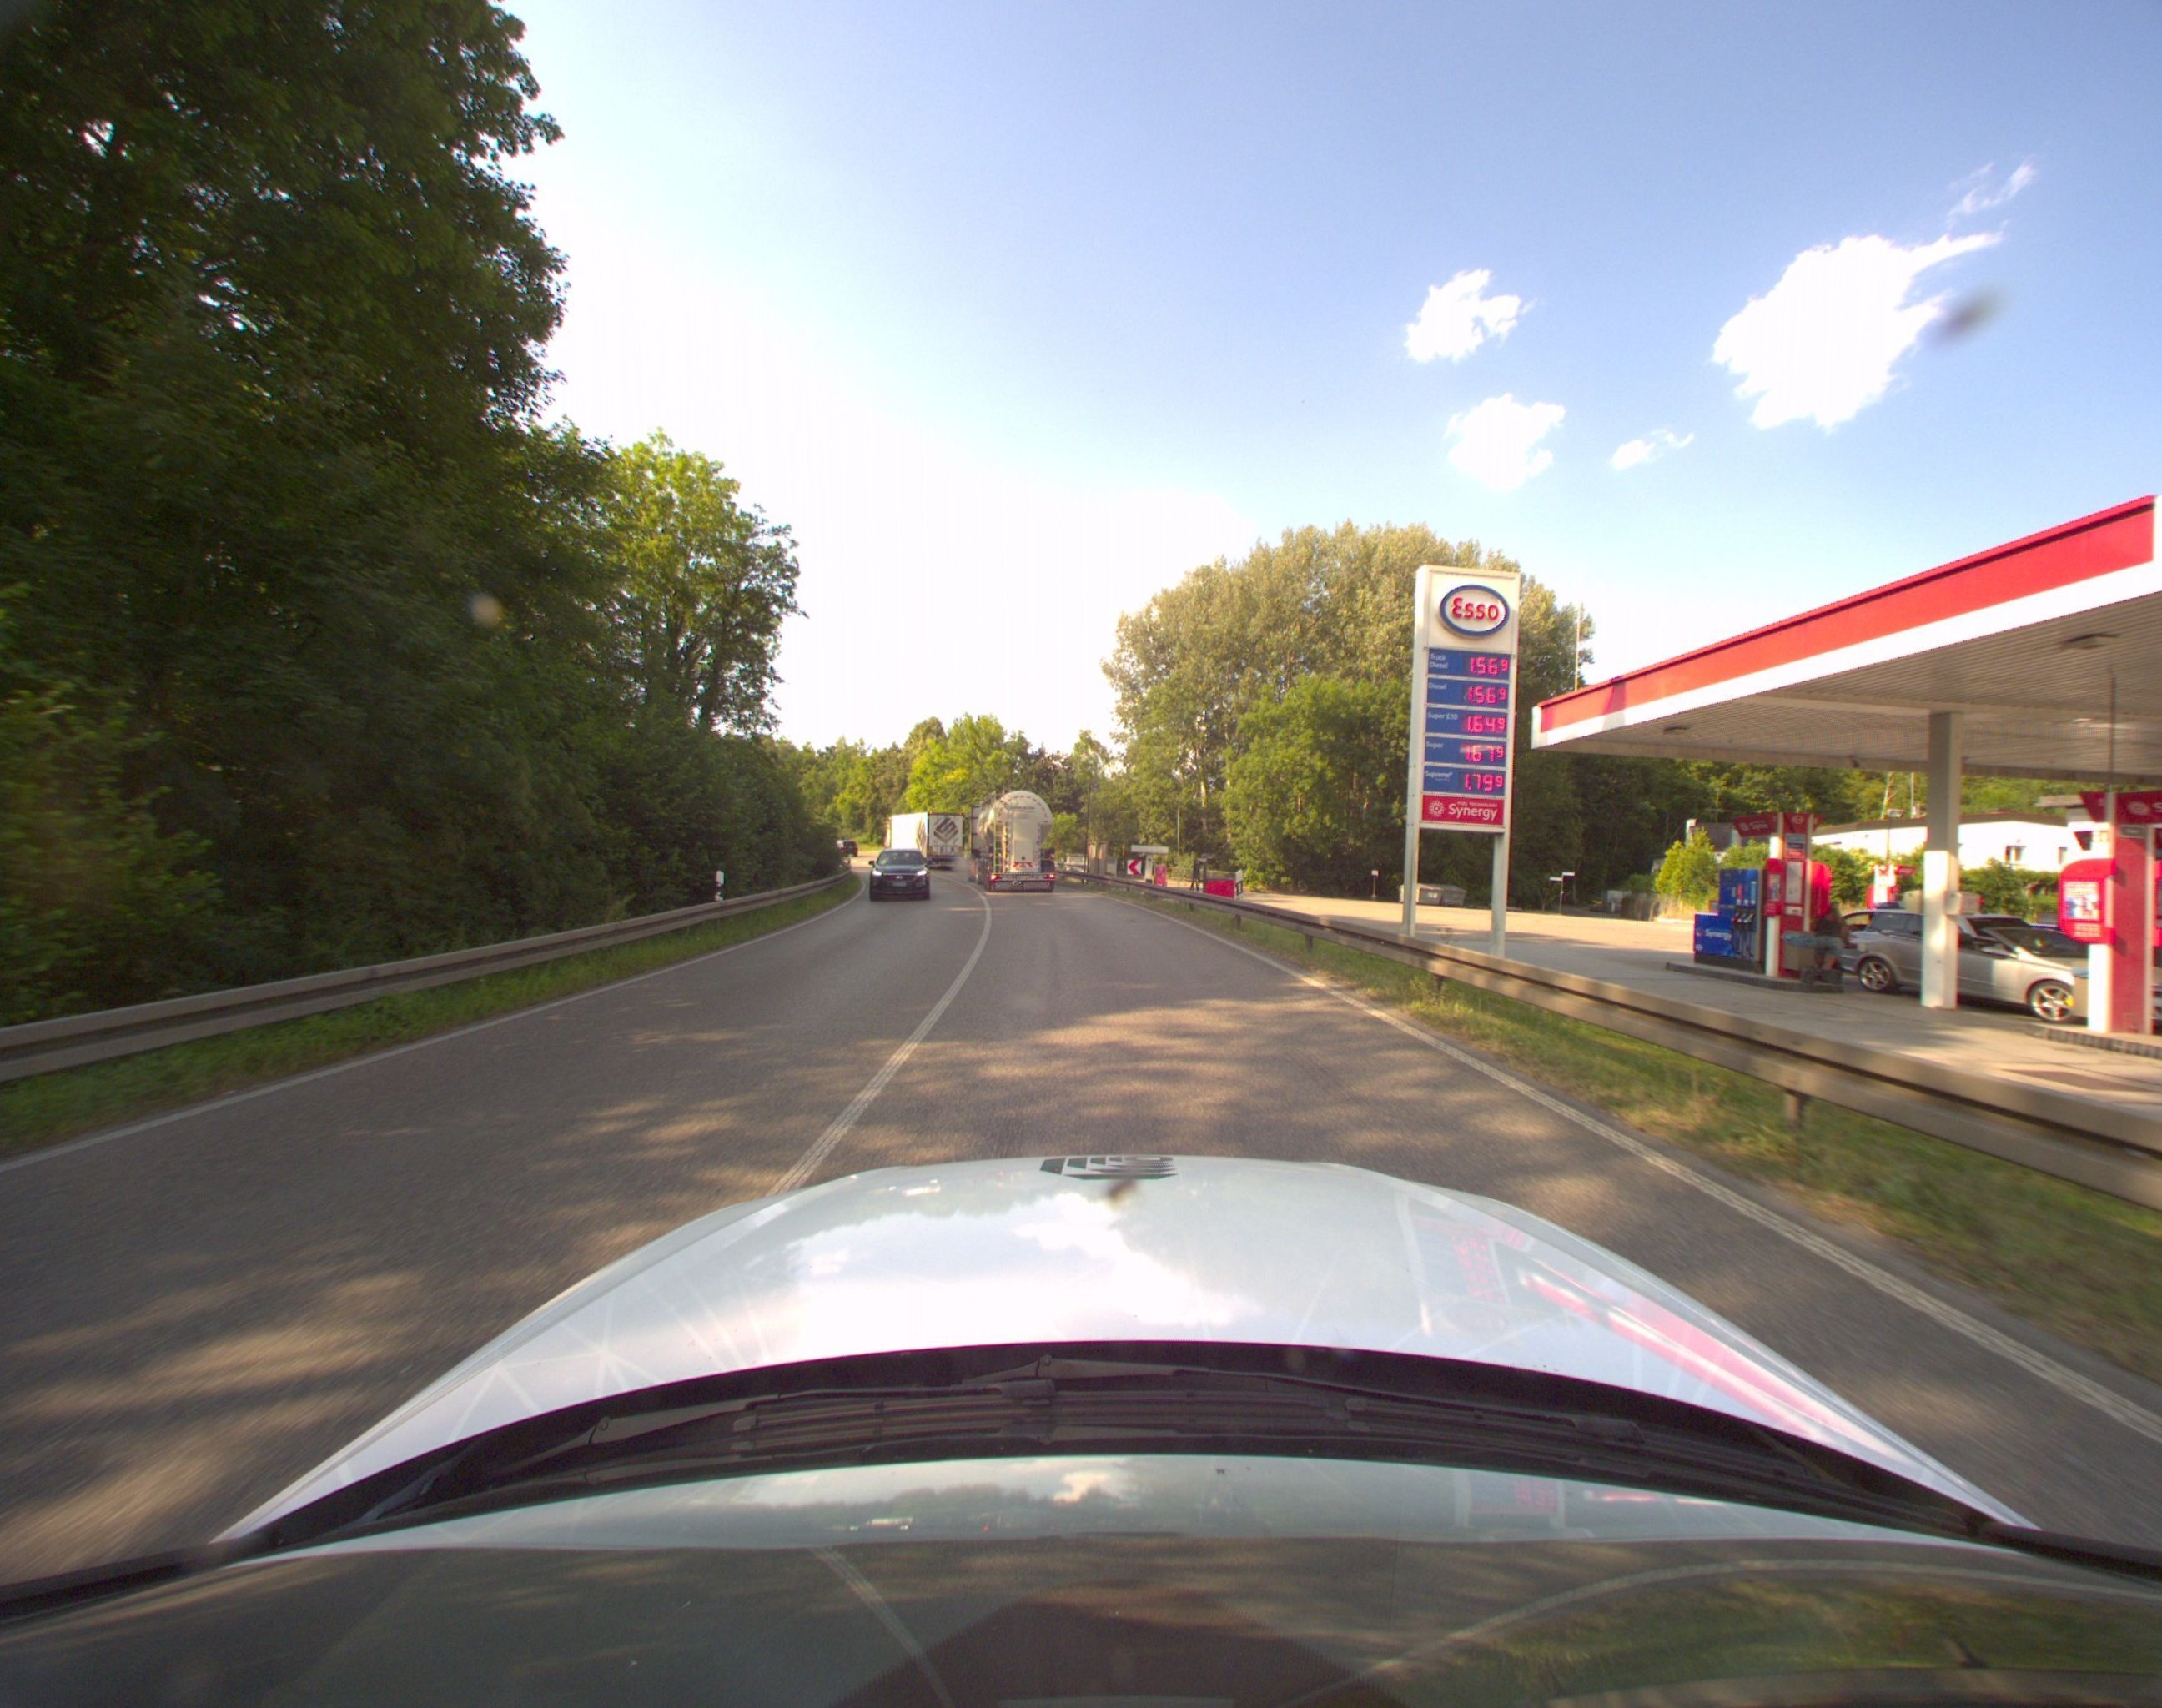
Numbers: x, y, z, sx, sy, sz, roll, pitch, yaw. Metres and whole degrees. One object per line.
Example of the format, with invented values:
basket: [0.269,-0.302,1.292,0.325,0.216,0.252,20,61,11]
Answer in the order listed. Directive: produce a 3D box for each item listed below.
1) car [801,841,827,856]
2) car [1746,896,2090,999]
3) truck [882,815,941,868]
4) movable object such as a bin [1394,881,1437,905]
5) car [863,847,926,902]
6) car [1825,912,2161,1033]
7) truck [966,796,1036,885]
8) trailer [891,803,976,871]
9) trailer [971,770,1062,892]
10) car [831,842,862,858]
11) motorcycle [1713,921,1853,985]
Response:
car: [-30.607,-0.661,93.322,1.881,1.564,3.958,-1,1,-34]
car: [17.855,1.887,17.885,2.087,1.628,5.174,2,0,-3]
truck: [-14.316,-1.023,68.329,3.466,4.086,6.439,2,0,-24]
movable object such as a bin: [22.614,2.626,55.103,1.268,1.420,2.543,5,-1,-16]
car: [-6.294,0.612,27.502,1.870,1.653,4.529,-1,1,-13]
car: [14.994,1.768,13.181,1.837,1.319,4.387,2,0,-2]
truck: [-4.081,-0.617,40.208,2.826,4.035,5.870,0,0,-12]
trailer: [-11.444,-1.188,61.532,3.560,4.513,12.887,2,0,-23]
trailer: [-2.983,-0.842,34.695,2.887,4.454,9.571,0,0,-10]
car: [-24.594,-0.460,85.423,1.882,1.627,3.956,-1,2,-37]
motorcycle: [14.255,1.976,16.644,0.760,1.012,2.339,2,0,-2]
